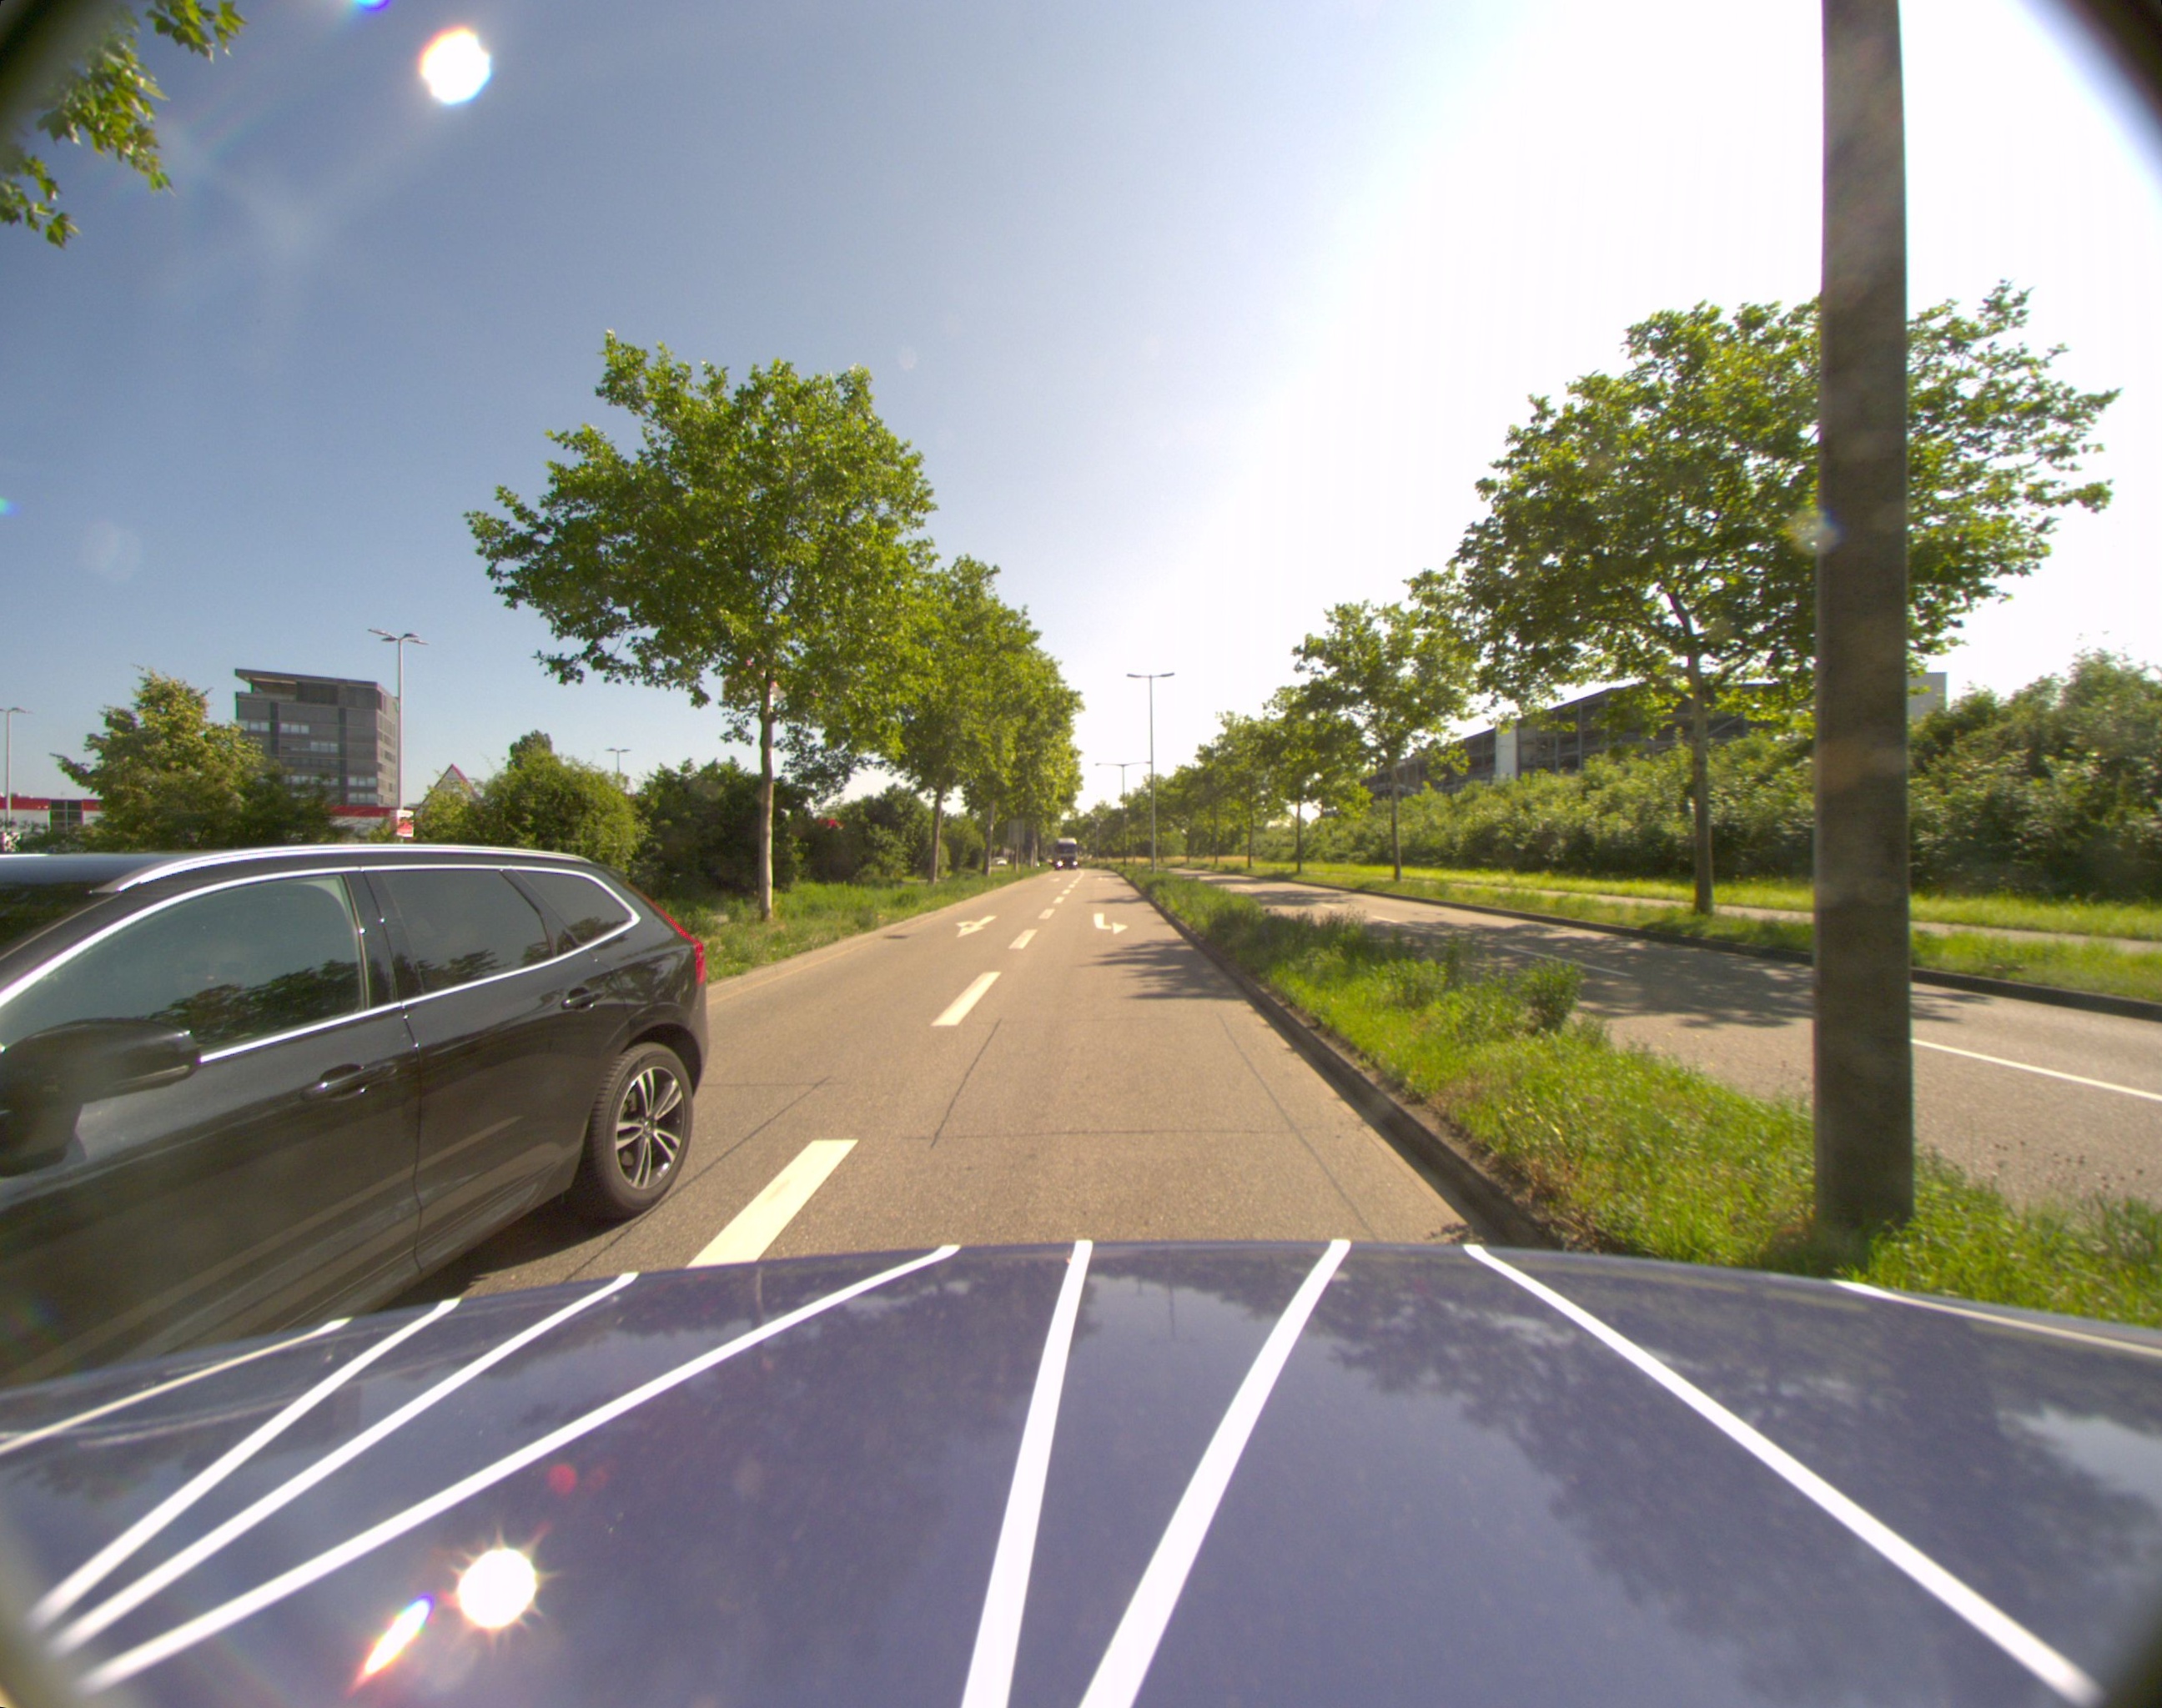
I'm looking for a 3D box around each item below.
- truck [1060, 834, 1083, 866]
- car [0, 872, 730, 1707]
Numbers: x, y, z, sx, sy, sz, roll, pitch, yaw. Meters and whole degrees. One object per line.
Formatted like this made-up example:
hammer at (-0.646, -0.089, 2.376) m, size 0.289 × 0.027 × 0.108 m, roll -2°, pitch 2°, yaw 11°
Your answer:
truck at (-1.167, -0.529, 95.986) m, size 2.741 × 3.872 × 5.850 m, roll -2°, pitch 1°, yaw 0°
car at (-2.904, 0.951, 1.833) m, size 1.924 × 1.613 × 4.564 m, roll -2°, pitch 1°, yaw 0°
